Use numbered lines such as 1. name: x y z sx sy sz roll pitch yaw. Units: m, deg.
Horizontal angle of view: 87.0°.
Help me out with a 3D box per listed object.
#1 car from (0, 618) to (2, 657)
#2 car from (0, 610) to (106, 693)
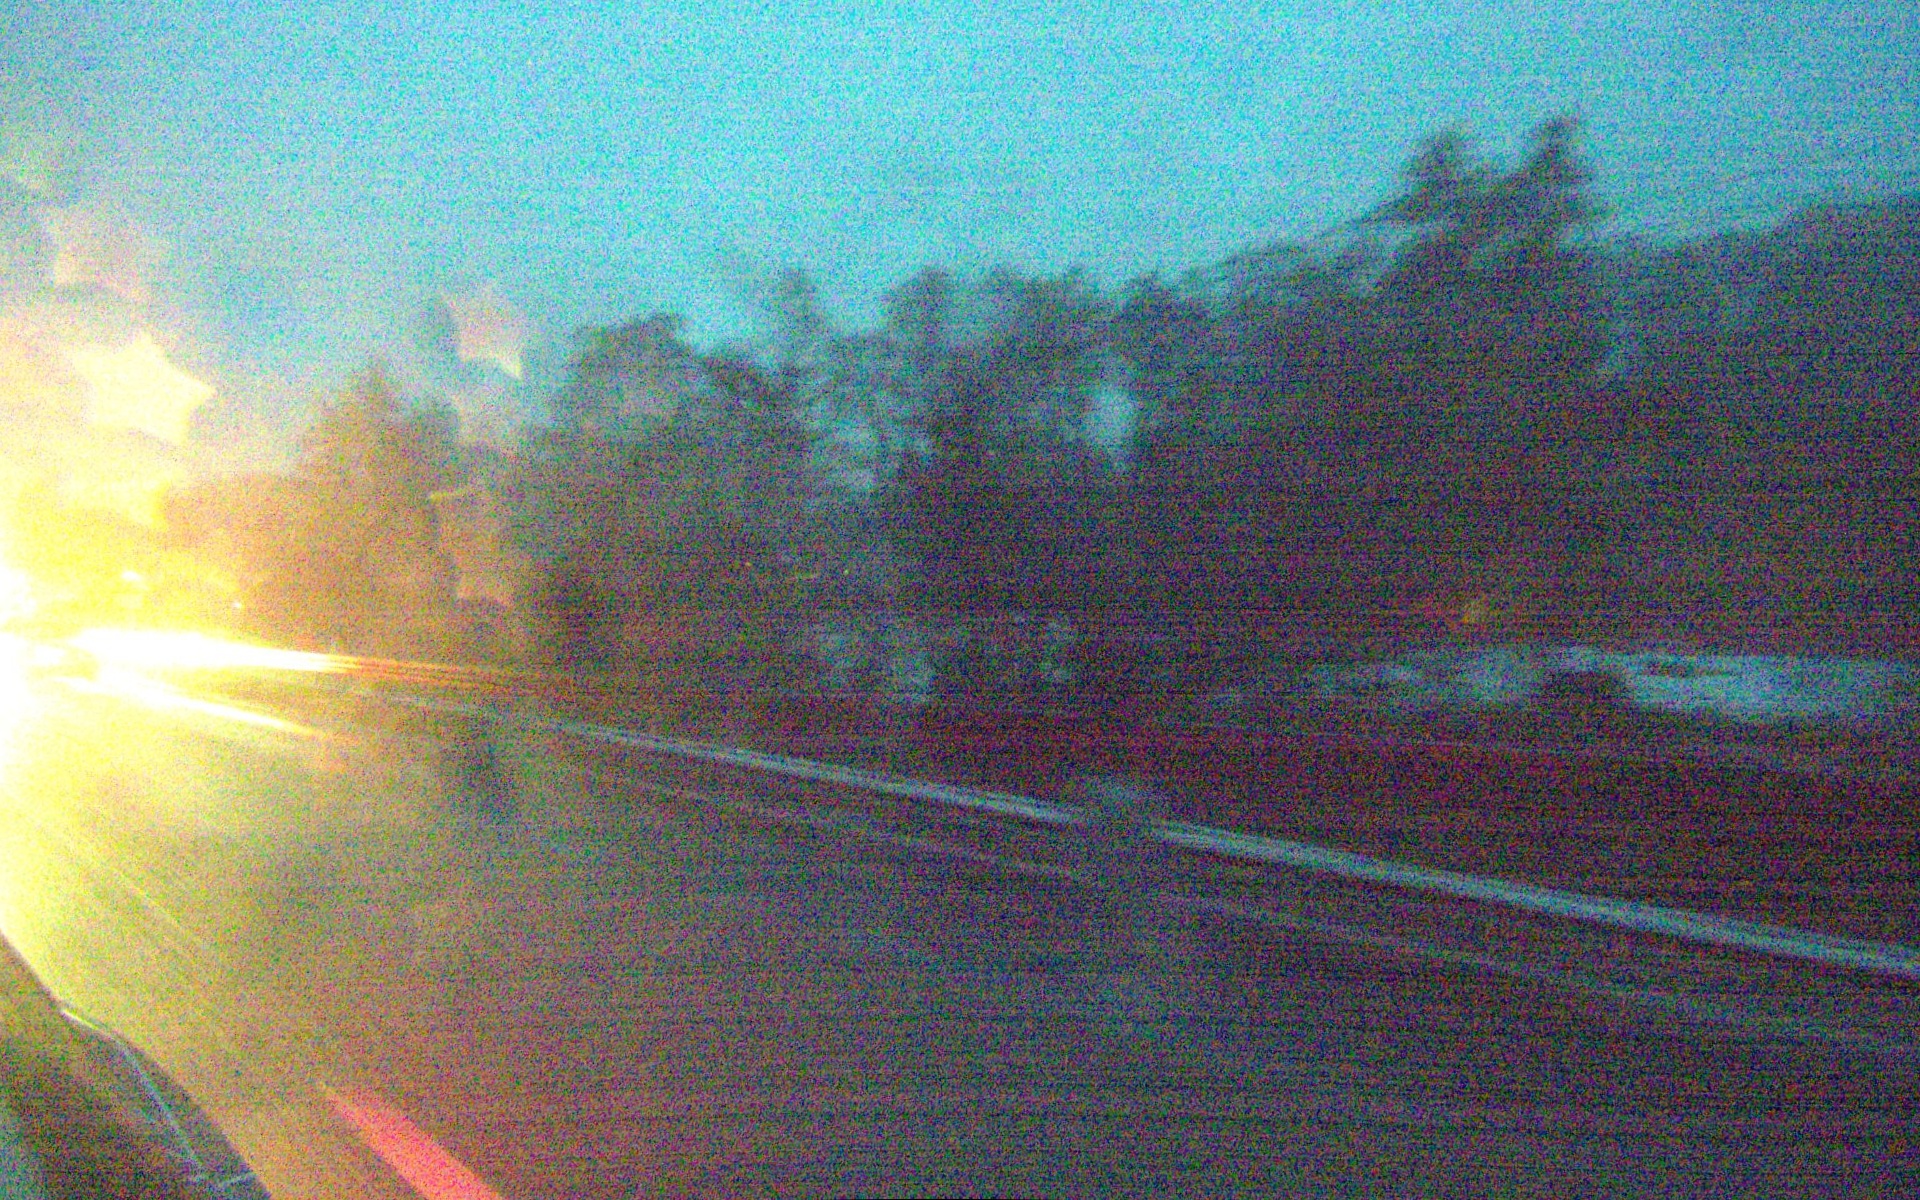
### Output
1. car: -38.436 1.489 39.013 4.282 1.473 1.954 -2 0 43
2. car: -19.622 1.039 21.362 4.680 1.533 1.835 -2 0 42
